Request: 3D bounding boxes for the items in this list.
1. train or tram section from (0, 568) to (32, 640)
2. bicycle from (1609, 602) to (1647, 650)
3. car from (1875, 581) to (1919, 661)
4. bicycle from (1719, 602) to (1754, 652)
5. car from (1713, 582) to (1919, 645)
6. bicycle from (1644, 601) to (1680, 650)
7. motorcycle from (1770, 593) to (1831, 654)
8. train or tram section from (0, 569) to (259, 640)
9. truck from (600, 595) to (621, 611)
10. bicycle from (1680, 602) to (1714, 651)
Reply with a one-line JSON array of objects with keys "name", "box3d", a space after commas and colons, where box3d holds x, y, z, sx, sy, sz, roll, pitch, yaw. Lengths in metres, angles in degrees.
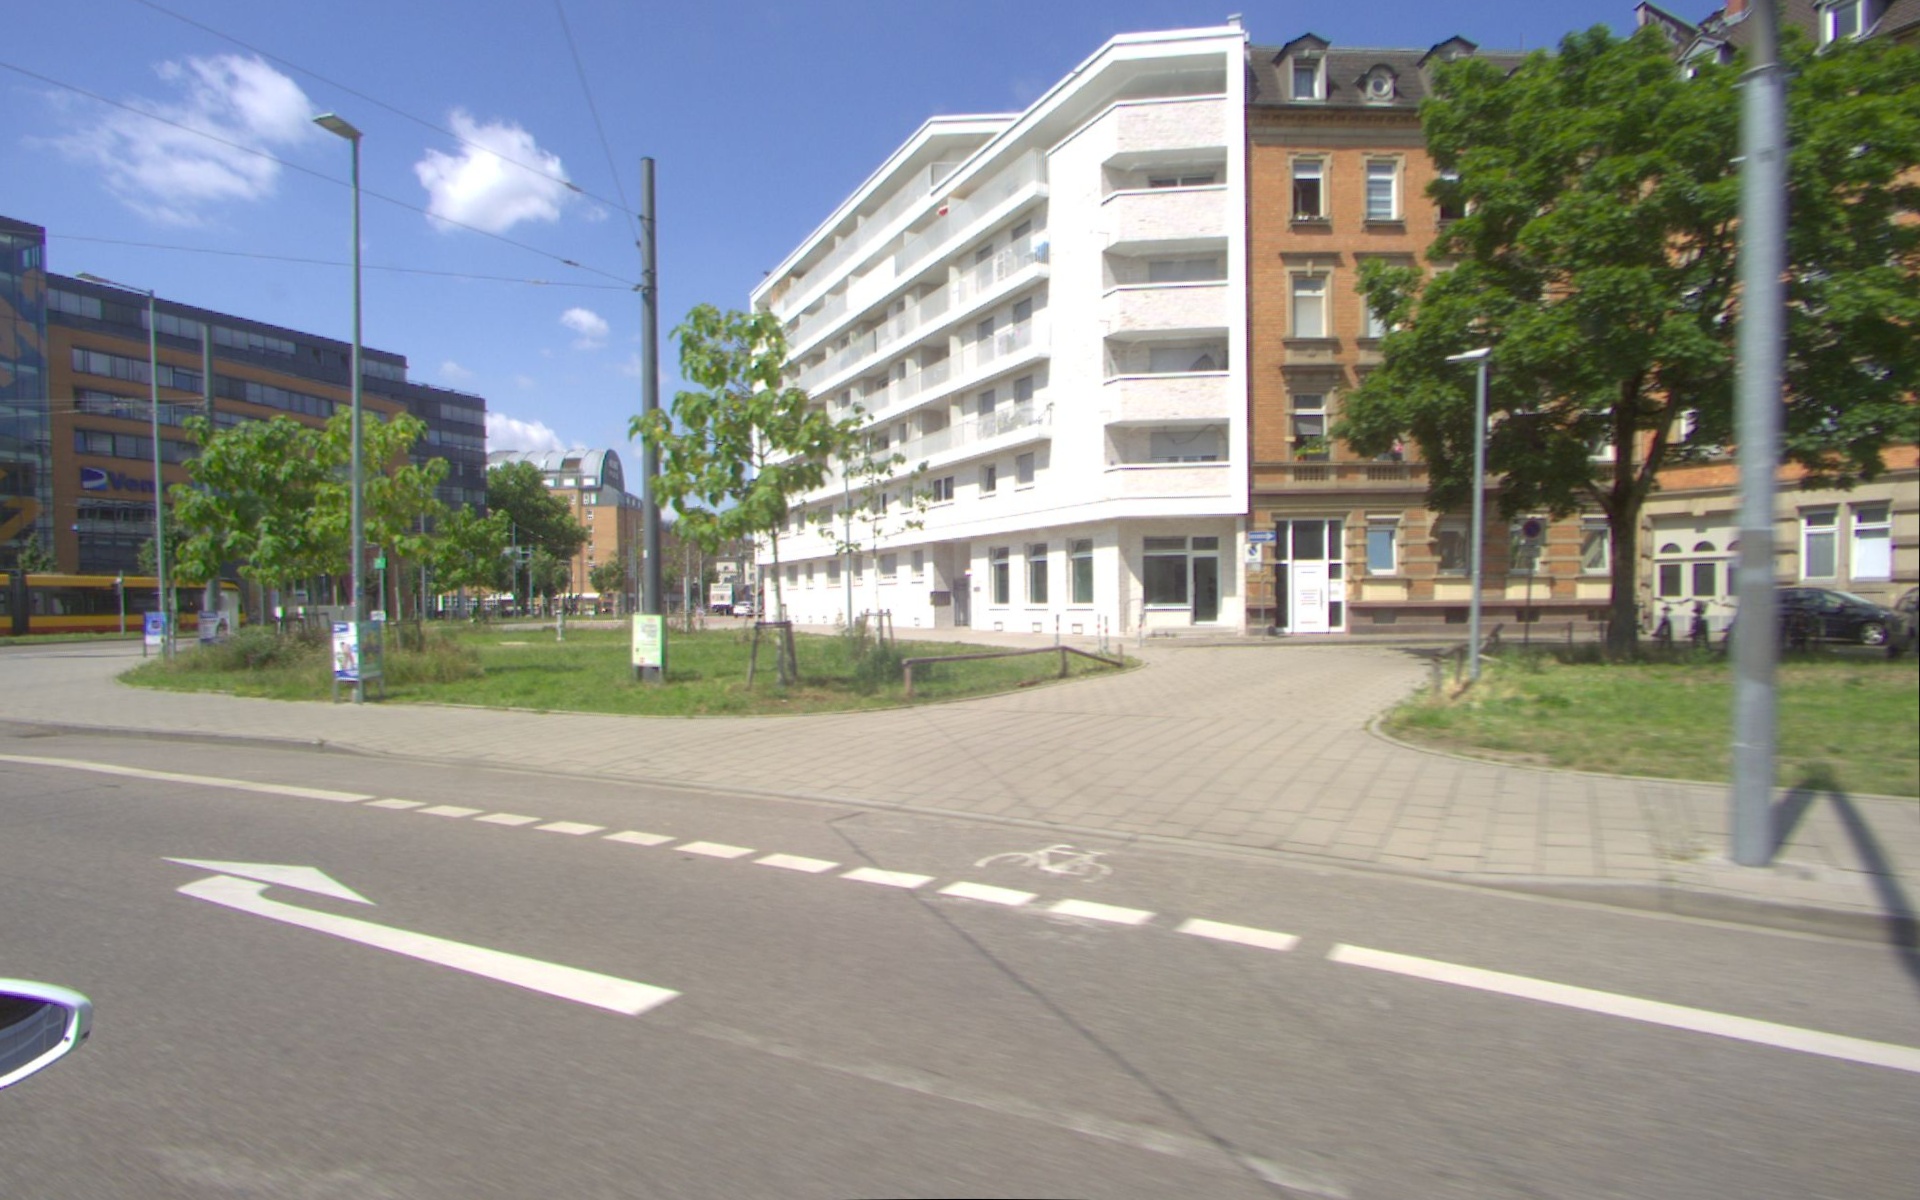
[{"name": "train or tram section", "box3d": [-50.782, 0.120, 46.861, 3.008, 3.650, 10.986, 0, -1, 13]}, {"name": "bicycle", "box3d": [14.535, 0.555, 21.755, 0.537, 0.982, 2.375, 0, -1, 37]}, {"name": "car", "box3d": [16.977, 0.363, 16.920, 1.839, 1.260, 4.137, 0, -1, 37]}, {"name": "bicycle", "box3d": [15.966, 0.552, 20.609, 0.537, 0.968, 2.375, 0, -1, 37]}, {"name": "car", "box3d": [22.043, 0.355, 25.855, 1.640, 1.511, 3.836, 1, -1, -28]}, {"name": "bicycle", "box3d": [15.008, 0.540, 21.390, 0.537, 0.982, 2.375, 0, -1, 37]}, {"name": "motorcycle", "box3d": [16.592, 0.459, 19.807, 0.802, 1.140, 2.375, 0, -1, 37]}, {"name": "train or tram section", "box3d": [-47.944, 0.351, 58.398, 3.008, 3.668, 12.625, 0, -1, 14]}, {"name": "truck", "box3d": [-47.691, 0.430, 136.588, 1.963, 2.113, 5.519, 0, -1, -11]}, {"name": "bicycle", "box3d": [15.476, 0.549, 21.008, 0.537, 0.982, 2.375, 0, -1, 37]}]
